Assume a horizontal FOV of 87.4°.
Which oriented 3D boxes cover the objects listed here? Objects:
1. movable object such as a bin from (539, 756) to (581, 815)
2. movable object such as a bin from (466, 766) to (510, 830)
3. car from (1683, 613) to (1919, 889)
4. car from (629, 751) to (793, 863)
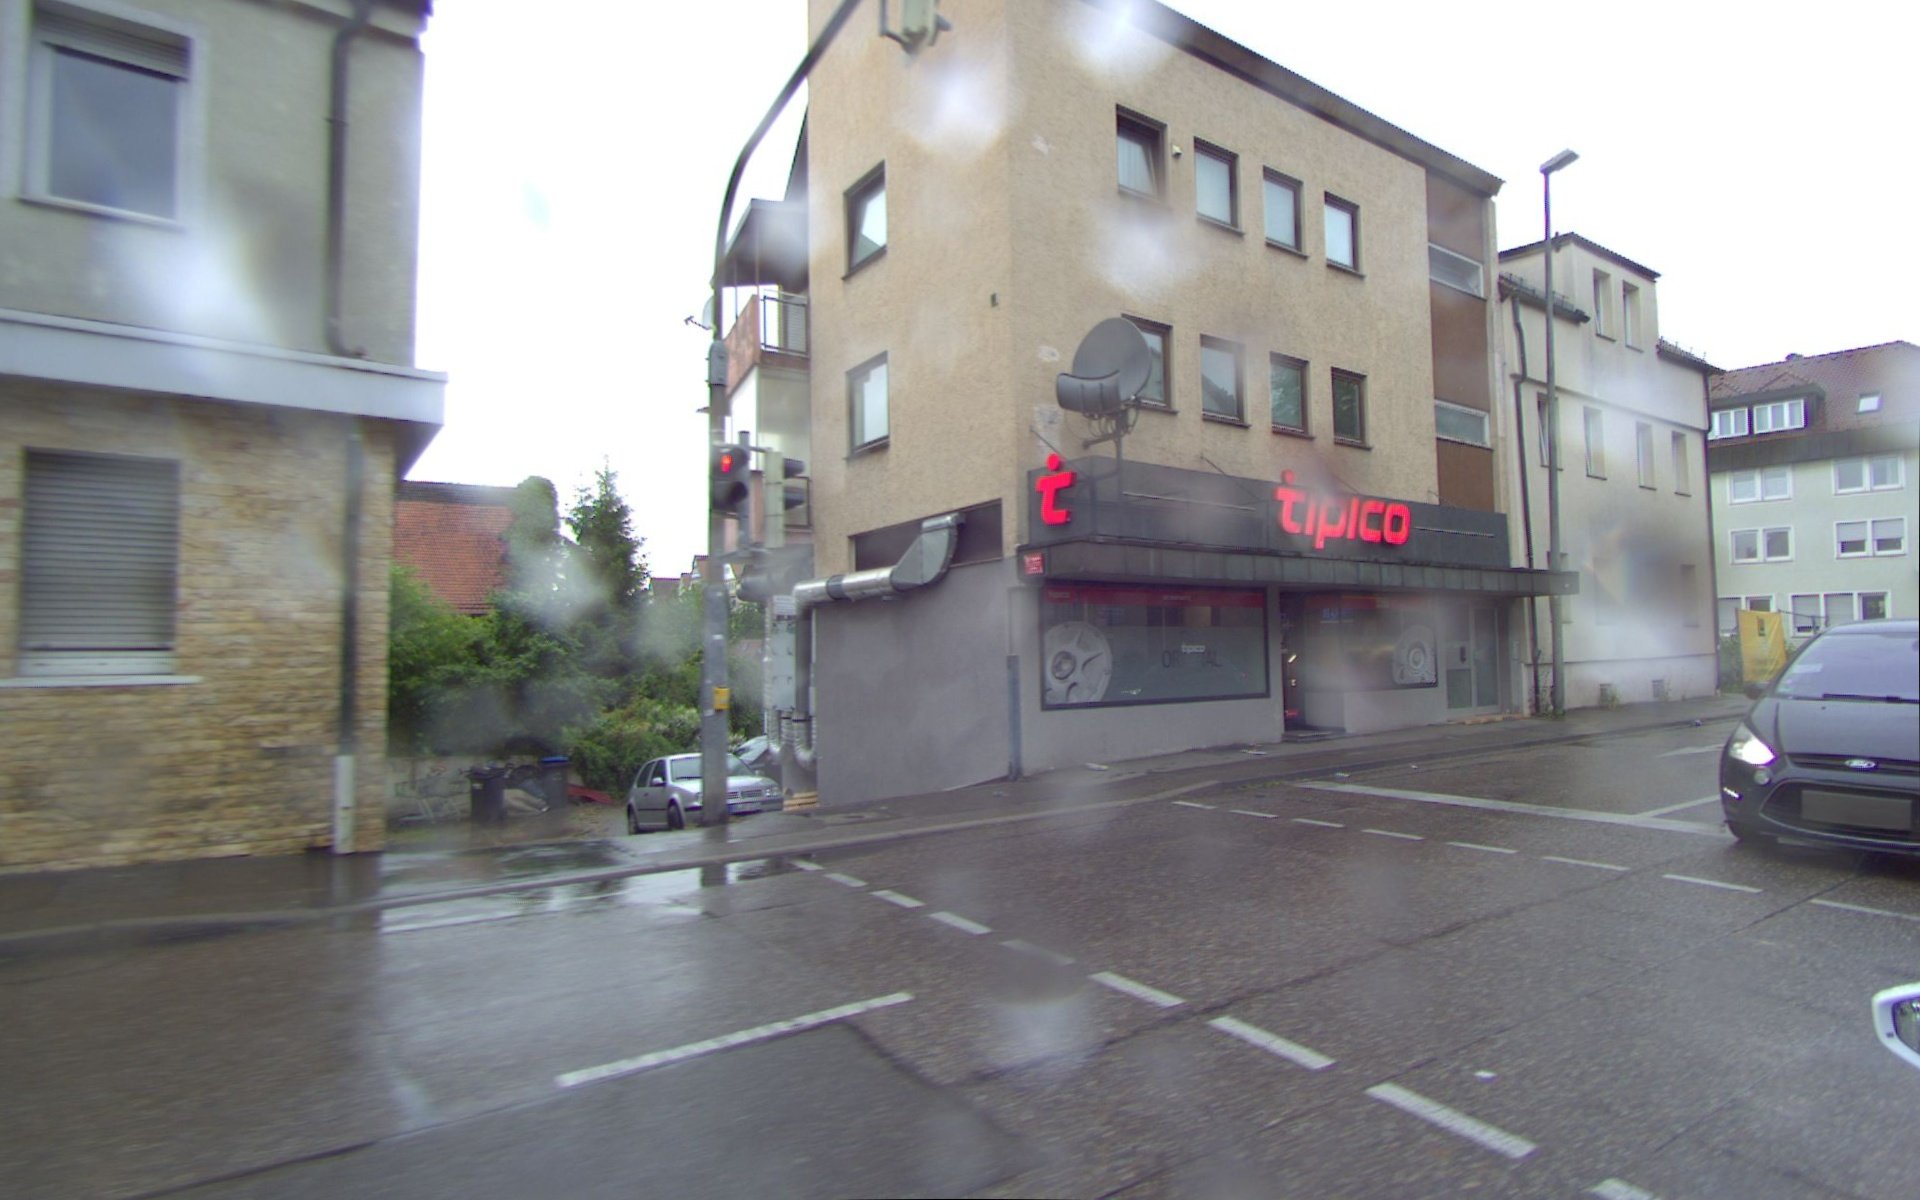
[{"bbox_3d":[-8.848,4.084,22.224,0.740,1.180,0.728,1,-4,-33],"label":"movable object such as a bin"},{"bbox_3d":[-9.767,4.074,20.766,0.740,1.180,0.728,1,-4,-33],"label":"movable object such as a bin"},{"bbox_3d":[7.128,0.916,7.276,4.359,1.583,1.772,1,-2,-36],"label":"car"},{"bbox_3d":[-4.276,3.379,16.805,1.709,1.500,3.841,0,-9,-29],"label":"car"}]
